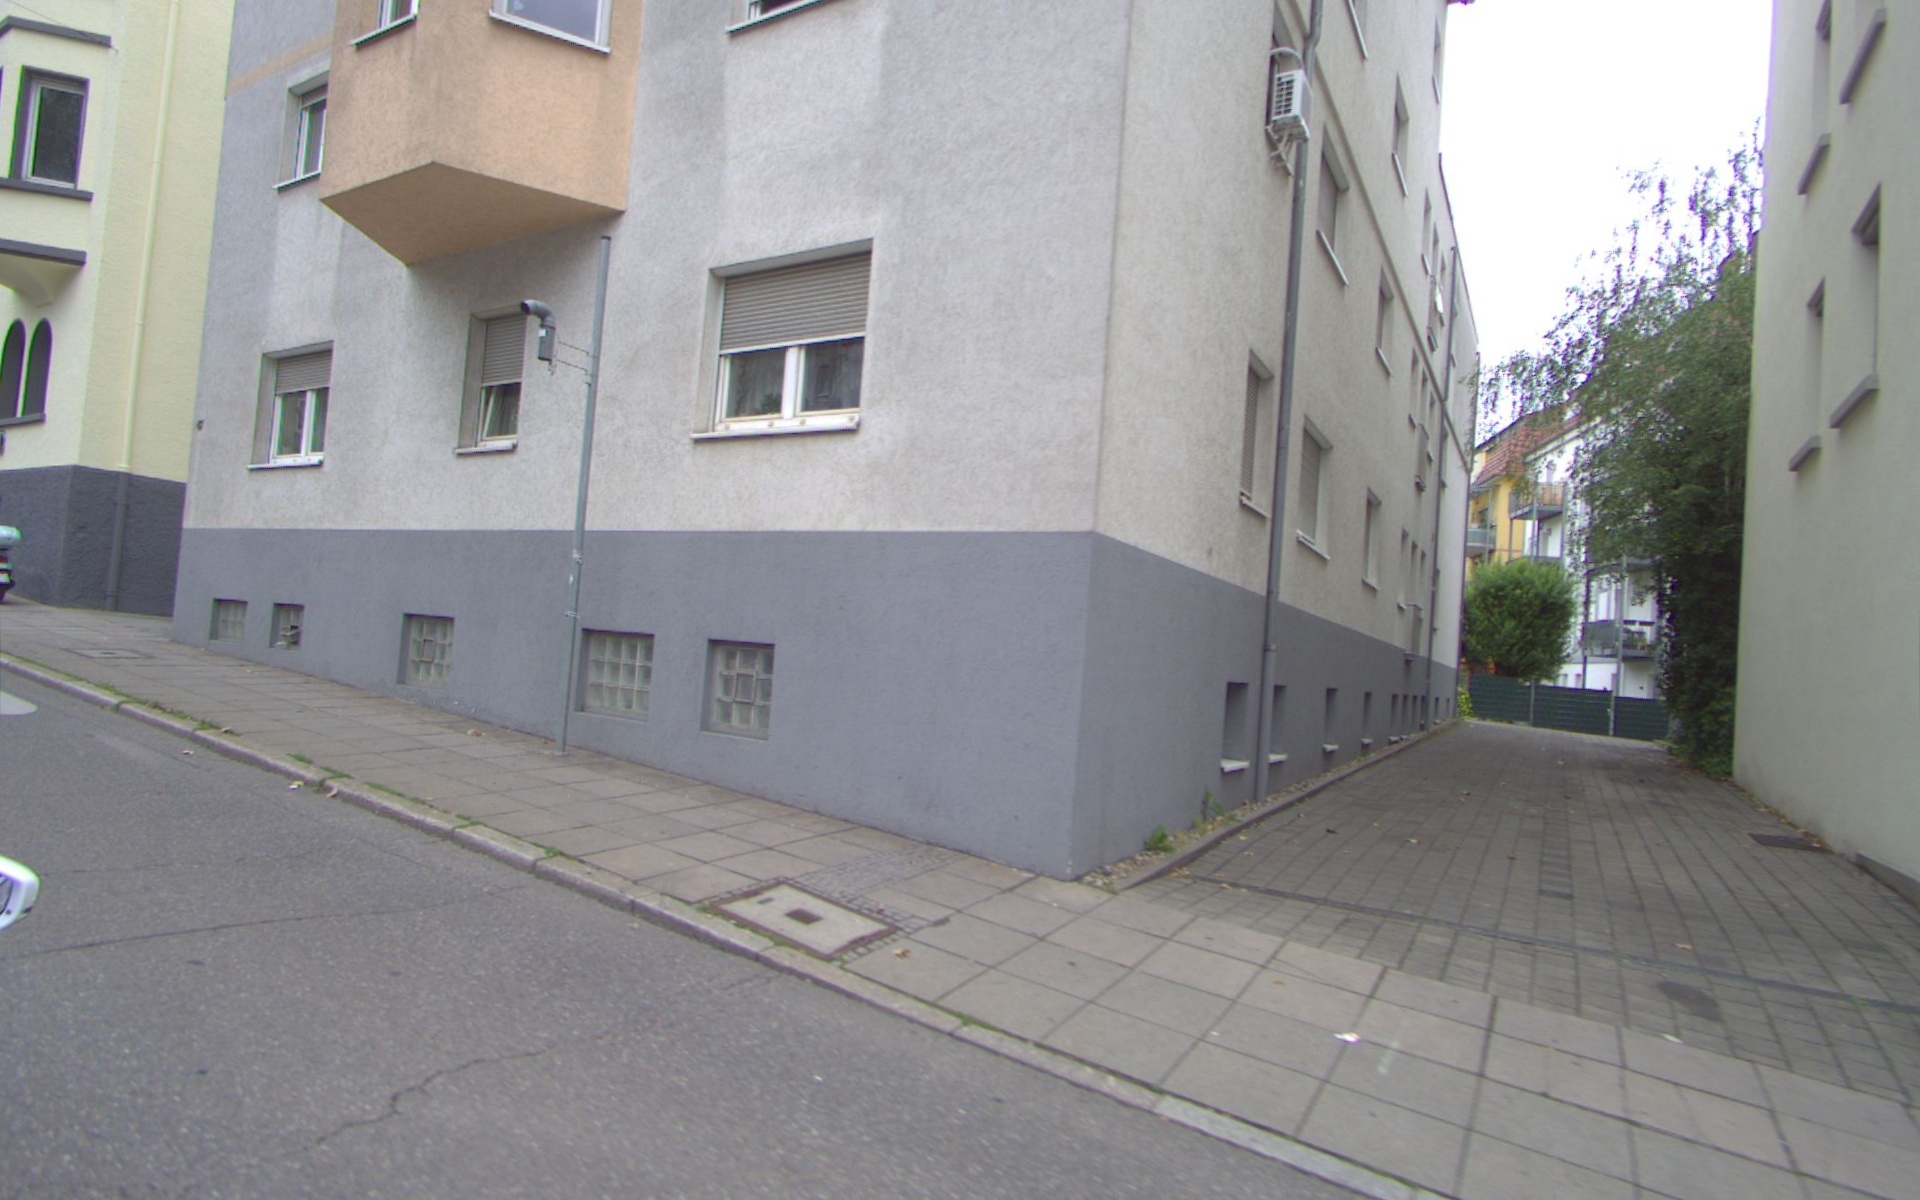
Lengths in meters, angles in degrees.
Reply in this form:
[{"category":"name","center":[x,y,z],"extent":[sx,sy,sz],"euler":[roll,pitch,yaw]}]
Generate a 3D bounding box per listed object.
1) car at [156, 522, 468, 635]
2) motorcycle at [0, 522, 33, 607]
[{"category":"car","center":[-10.846,-0.293,17.127],"extent":[1.854,1.441,3.991],"euler":[6,0,32]},{"category":"motorcycle","center":[-14.591,-0.595,14.923],"extent":[2.188,1.171,0.538],"euler":[6,2,29]}]
